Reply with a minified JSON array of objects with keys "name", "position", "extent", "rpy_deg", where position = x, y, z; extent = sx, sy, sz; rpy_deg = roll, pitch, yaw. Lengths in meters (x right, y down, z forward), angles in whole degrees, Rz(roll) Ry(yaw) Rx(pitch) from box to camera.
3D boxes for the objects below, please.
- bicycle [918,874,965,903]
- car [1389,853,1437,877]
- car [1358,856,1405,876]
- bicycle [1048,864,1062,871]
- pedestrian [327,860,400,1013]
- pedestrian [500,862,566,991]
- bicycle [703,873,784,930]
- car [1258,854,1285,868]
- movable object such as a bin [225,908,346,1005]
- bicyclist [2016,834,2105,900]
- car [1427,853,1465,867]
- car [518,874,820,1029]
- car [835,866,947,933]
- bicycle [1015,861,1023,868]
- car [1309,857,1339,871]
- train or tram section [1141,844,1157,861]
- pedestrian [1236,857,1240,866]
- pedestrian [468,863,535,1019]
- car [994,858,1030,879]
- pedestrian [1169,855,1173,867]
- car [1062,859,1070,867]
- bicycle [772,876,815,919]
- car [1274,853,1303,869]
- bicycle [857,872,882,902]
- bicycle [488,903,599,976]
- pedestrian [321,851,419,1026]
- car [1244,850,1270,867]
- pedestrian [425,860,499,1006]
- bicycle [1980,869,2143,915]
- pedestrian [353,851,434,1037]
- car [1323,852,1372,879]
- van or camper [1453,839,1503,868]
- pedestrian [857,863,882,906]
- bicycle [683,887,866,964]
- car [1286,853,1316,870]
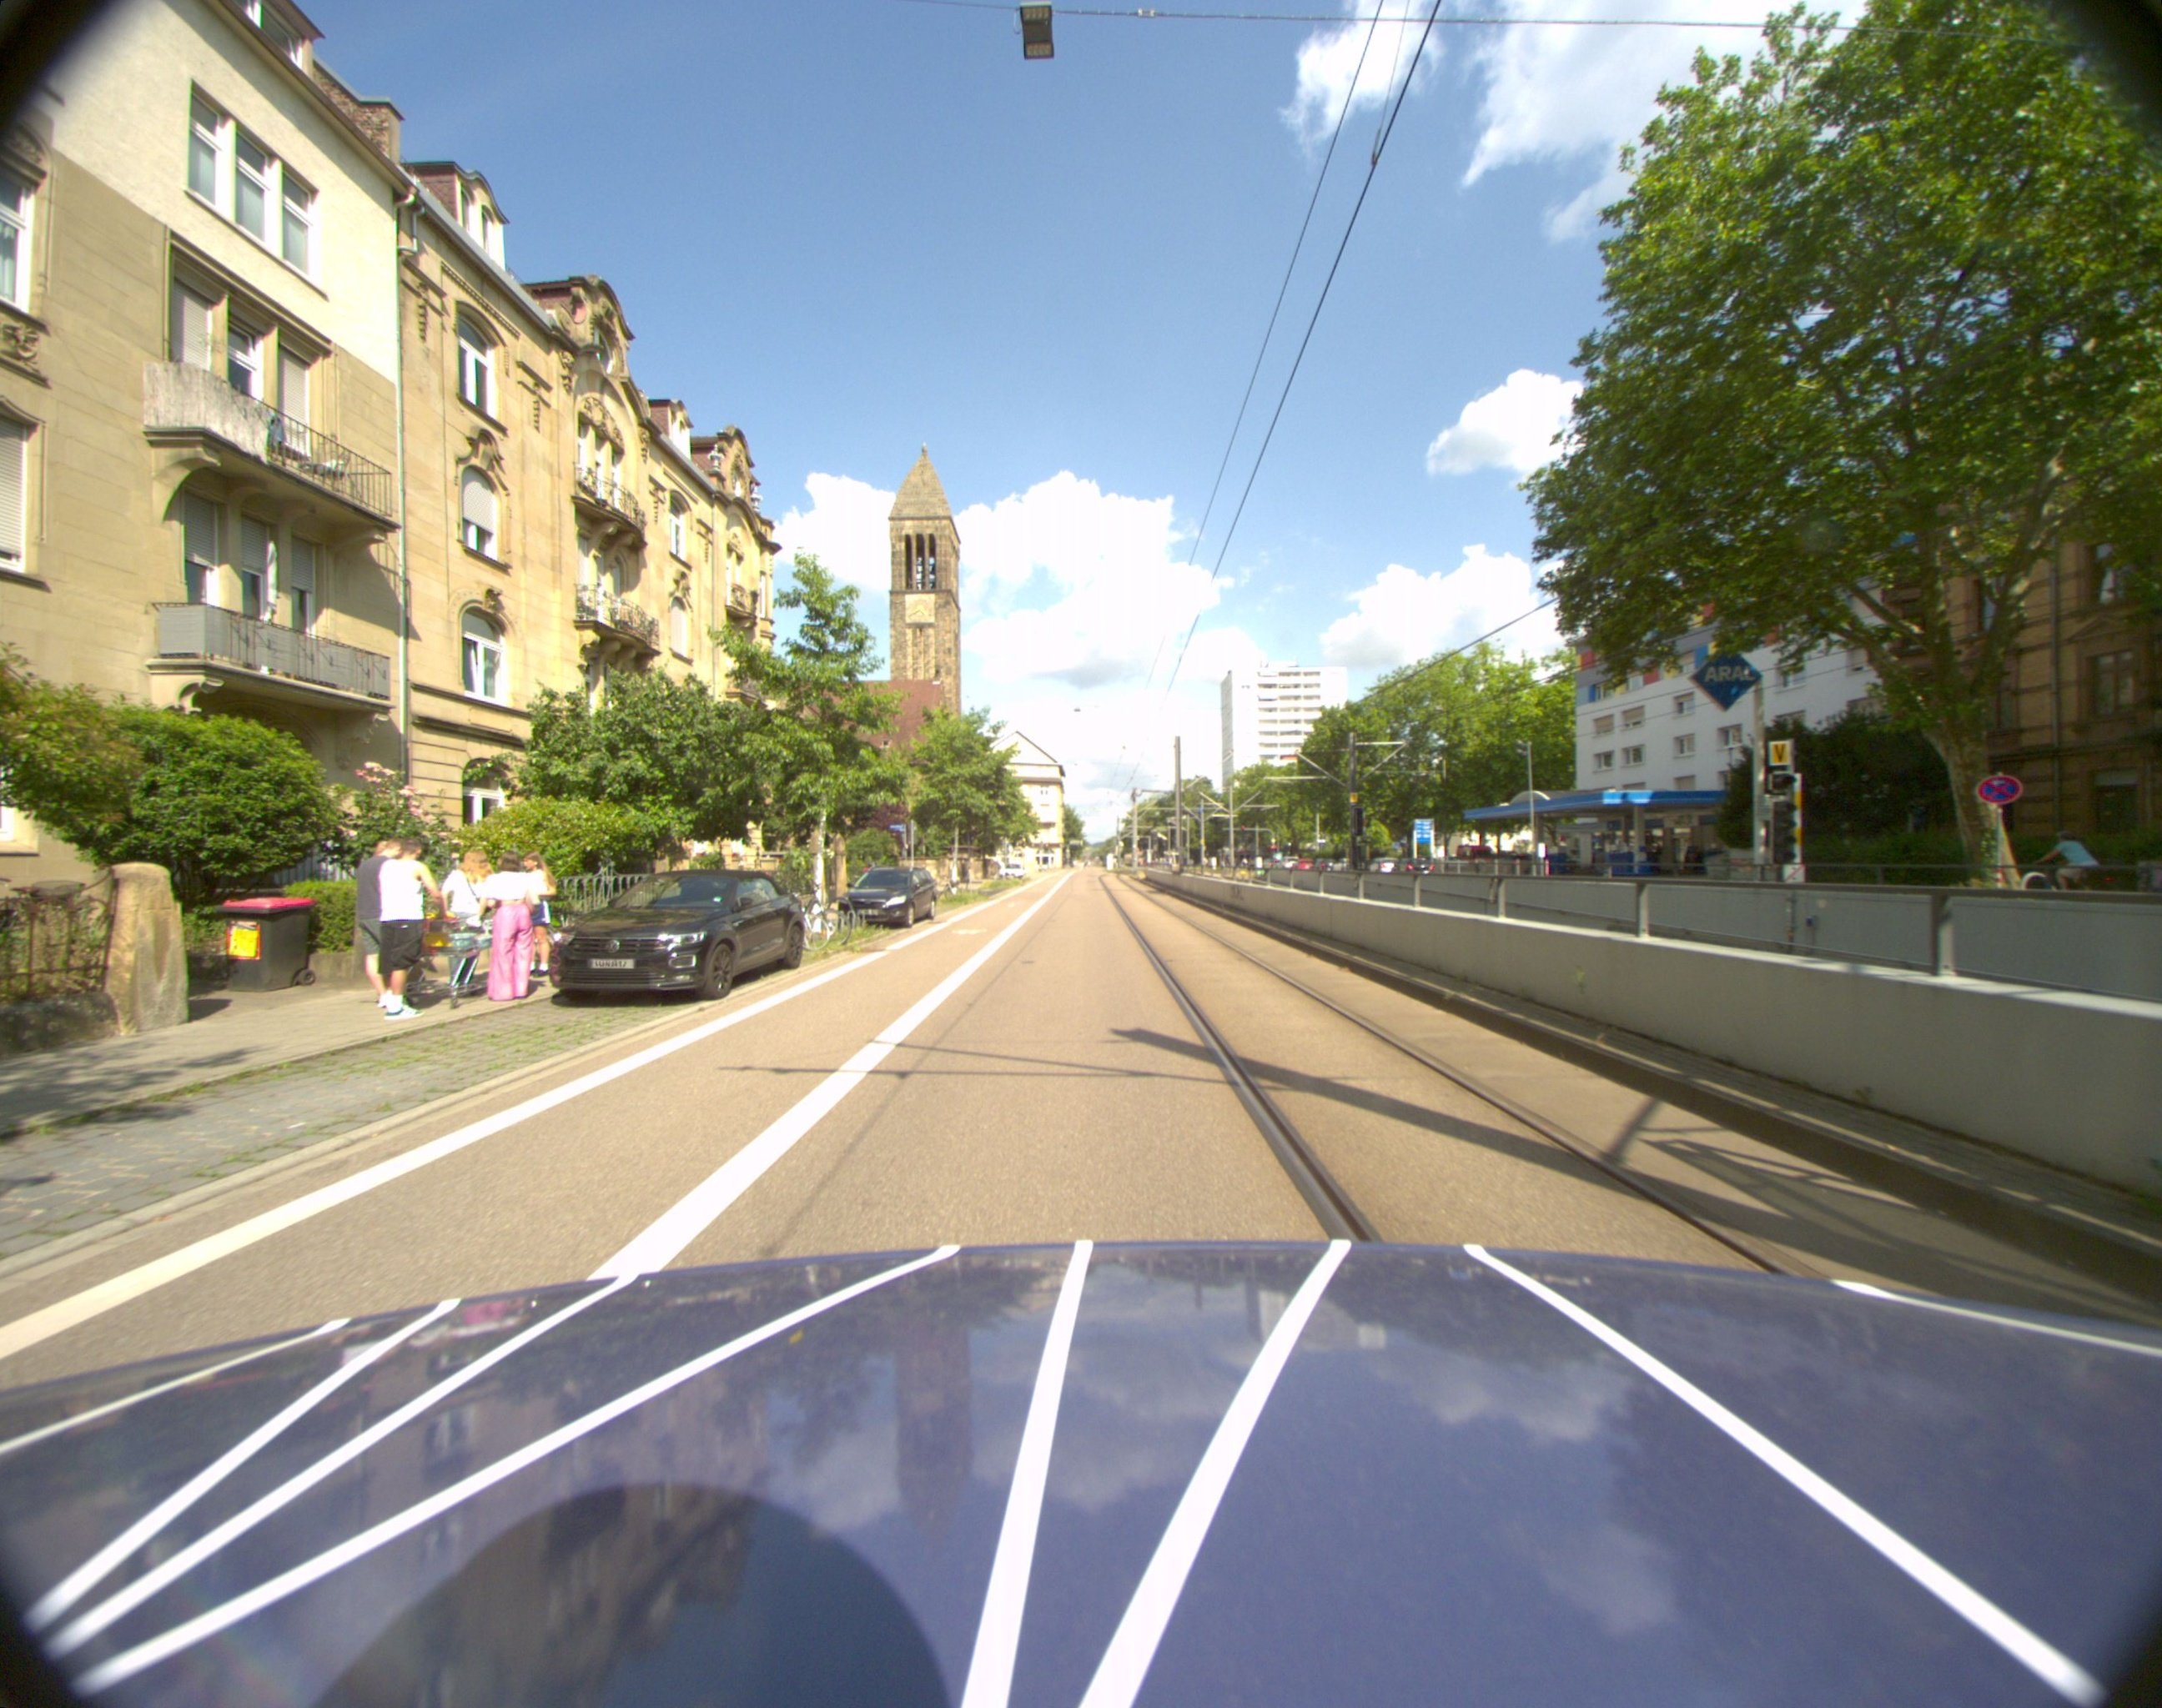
[{"name":"bicycle","position":[-5.374,1.340,29.364],"extent":[1.711,1.063,0.471],"rpy_deg":[-1,0,-5]},{"name":"car","position":[20.772,0.663,47.668],"extent":[1.672,1.408,3.784],"rpy_deg":[-1,0,6]},{"name":"car","position":[21.318,0.847,54.011],"extent":[1.726,1.408,4.406],"rpy_deg":[0,0,2]},{"name":"bicycle","position":[-3.900,2.047,114.436],"extent":[2.134,0.983,0.652],"rpy_deg":[-1,0,-6]},{"name":"pedestrian","position":[-8.201,0.923,8.690],"extent":[0.385,1.696,0.431],"rpy_deg":[2,0,0]},{"name":"pedestrian","position":[-7.315,0.949,10.169],"extent":[0.530,1.666,0.574],"rpy_deg":[2,0,-18]},{"name":"bicycle","position":[-8.387,1.136,19.052],"extent":[0.659,1.241,2.943],"rpy_deg":[2,0,1]},{"name":"car","position":[22.194,0.818,88.805],"extent":[1.871,1.642,5.154],"rpy_deg":[1,-1,1]},{"name":"movable object such as a bin","position":[-9.492,1.201,9.097],"extent":[0.609,1.051,0.775],"rpy_deg":[2,0,1]},{"name":"bicyclist","position":[22.272,0.282,17.300],"extent":[0.690,1.447,1.044],"rpy_deg":[-1,0,1]},{"name":"car","position":[35.743,0.580,74.493],"extent":[1.757,1.402,4.000],"rpy_deg":[0,0,-1]},{"name":"car","position":[-5.104,1.094,10.254],"extent":[1.803,1.517,4.488],"rpy_deg":[1,0,-3]},{"name":"car","position":[-4.895,1.120,20.271],"extent":[1.690,1.493,4.708],"rpy_deg":[-1,0,1]},{"name":"bicycle","position":[-10.400,1.740,127.209],"extent":[0.611,1.013,1.872],"rpy_deg":[-1,2,-28]},{"name":"car","position":[21.596,0.906,67.647],"extent":[1.620,1.182,3.634],"rpy_deg":[-1,-1,2]},{"name":"train or tram section","position":[14.083,-0.269,157.164],"extent":[2.802,3.540,11.379],"rpy_deg":[-1,0,3]},{"name":"pedestrian","position":[29.779,1.333,144.208],"extent":[0.671,1.693,0.648],"rpy_deg":[-1,0,3]},{"name":"pedestrian","position":[-6.500,0.949,8.530],"extent":[0.318,1.696,0.461],"rpy_deg":[2,0,14]},{"name":"car","position":[-5.105,1.041,56.522],"extent":[1.671,1.408,3.847],"rpy_deg":[-3,-1,9]},{"name":"pedestrian","position":[12.520,0.963,105.779],"extent":[0.528,1.722,0.557],"rpy_deg":[1,0,-5]},{"name":"car","position":[-3.397,2.010,171.940],"extent":[1.851,1.779,4.000],"rpy_deg":[2,0,-1]},{"name":"bicycle","position":[-8.260,1.220,21.908],"extent":[0.428,1.133,2.023],"rpy_deg":[2,0,1]},{"name":"car","position":[22.118,0.704,81.191],"extent":[1.764,1.597,4.678],"rpy_deg":[-1,1,0]},{"name":"bicycle","position":[-8.298,1.268,29.890],"extent":[0.471,1.102,1.711],"rpy_deg":[-1,0,1]},{"name":"bicycle","position":[-8.365,1.295,11.921],"extent":[0.428,0.934,1.807],"rpy_deg":[2,0,1]},{"name":"pedestrian","position":[-7.480,0.877,8.005],"extent":[0.671,1.794,0.319],"rpy_deg":[2,0,-1]},{"name":"car","position":[22.165,0.632,95.896],"extent":[2.080,1.974,5.337],"rpy_deg":[-1,-2,0]},{"name":"pedestrian","position":[-7.400,0.923,9.100],"extent":[0.503,1.696,0.495],"rpy_deg":[2,0,-18]},{"name":"bicycle","position":[22.279,0.832,17.362],"extent":[0.673,0.908,2.368],"rpy_deg":[-1,0,1]},{"name":"pedestrian","position":[-6.806,0.878,7.531],"extent":[0.460,1.794,0.319],"rpy_deg":[2,0,-1]},{"name":"car","position":[21.468,0.970,61.415],"extent":[1.952,1.596,5.080],"rpy_deg":[-10,-4,1]},{"name":"van or camper","position":[38.584,-0.033,73.970],"extent":[2.107,2.625,5.350],"rpy_deg":[2,0,2]},{"name":"pedestrian","position":[-8.203,1.178,29.445],"extent":[0.725,1.619,0.725],"rpy_deg":[-1,0,1]},{"name":"bicycle","position":[-5.475,1.262,13.778],"extent":[2.957,1.239,0.792],"rpy_deg":[-1,0,-12]},{"name":"car","position":[21.469,0.743,74.354],"extent":[1.717,1.597,4.145],"rpy_deg":[-1,-2,0]}]
